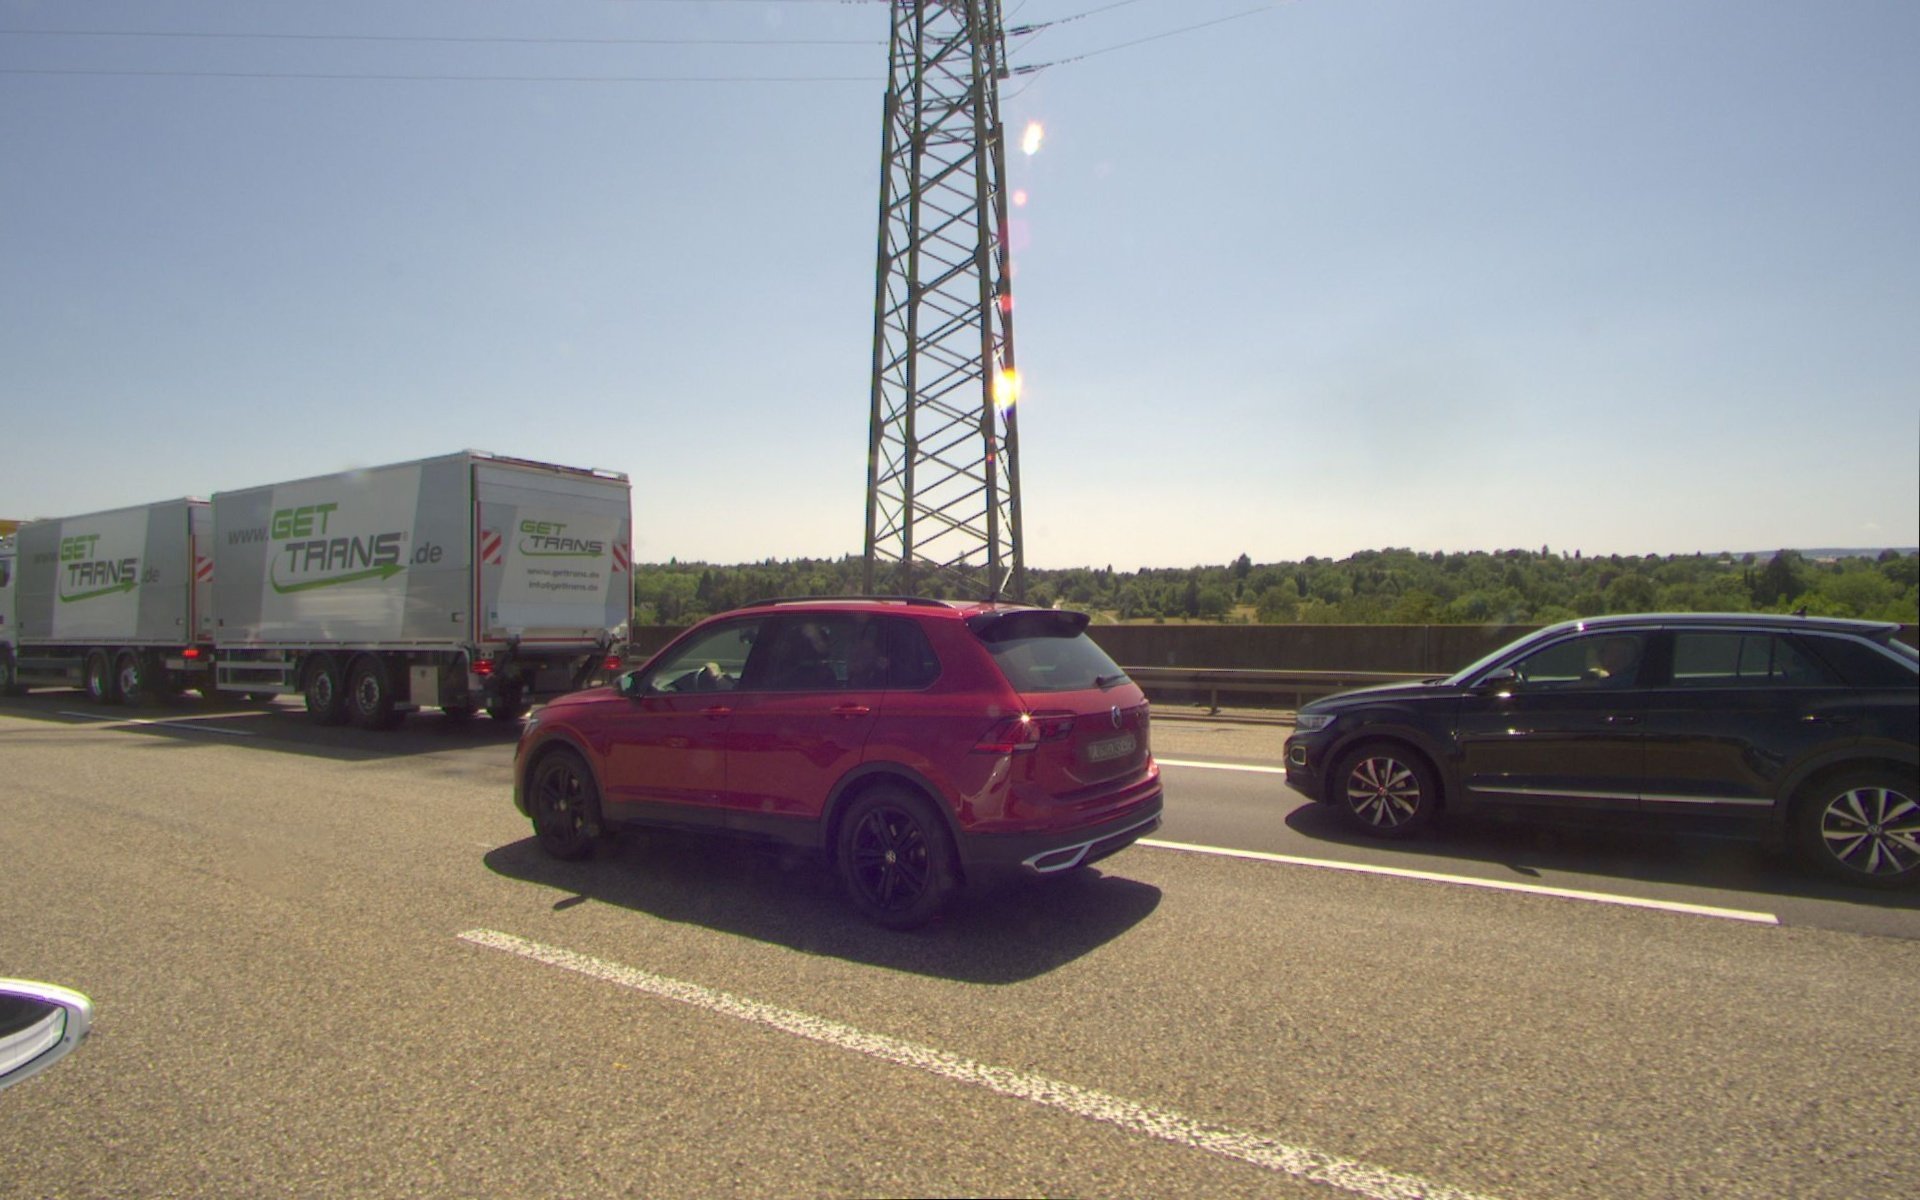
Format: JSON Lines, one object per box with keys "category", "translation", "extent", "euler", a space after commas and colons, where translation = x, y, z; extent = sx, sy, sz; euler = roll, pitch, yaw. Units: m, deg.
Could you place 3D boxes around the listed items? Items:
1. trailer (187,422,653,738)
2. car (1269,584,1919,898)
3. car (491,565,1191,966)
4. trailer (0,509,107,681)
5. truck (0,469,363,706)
{"category": "trailer", "translation": [-8.772, -0.119, 15.881], "extent": [8.097, 3.940, 2.894], "euler": [-1, -2, 32]}
{"category": "car", "translation": [4.390, 0.814, 6.849], "extent": [4.059, 1.675, 1.706], "euler": [-1, -2, 32]}
{"category": "car", "translation": [-0.902, 0.783, 6.172], "extent": [4.227, 1.700, 1.705], "euler": [-2, -3, 34]}
{"category": "trailer", "translation": [-26.480, 0.008, 26.975], "extent": [8.850, 4.139, 2.679], "euler": [-1, -2, 31]}
{"category": "truck", "translation": [-16.633, -0.048, 20.784], "extent": [10.459, 3.984, 2.847], "euler": [-2, -2, 32]}
